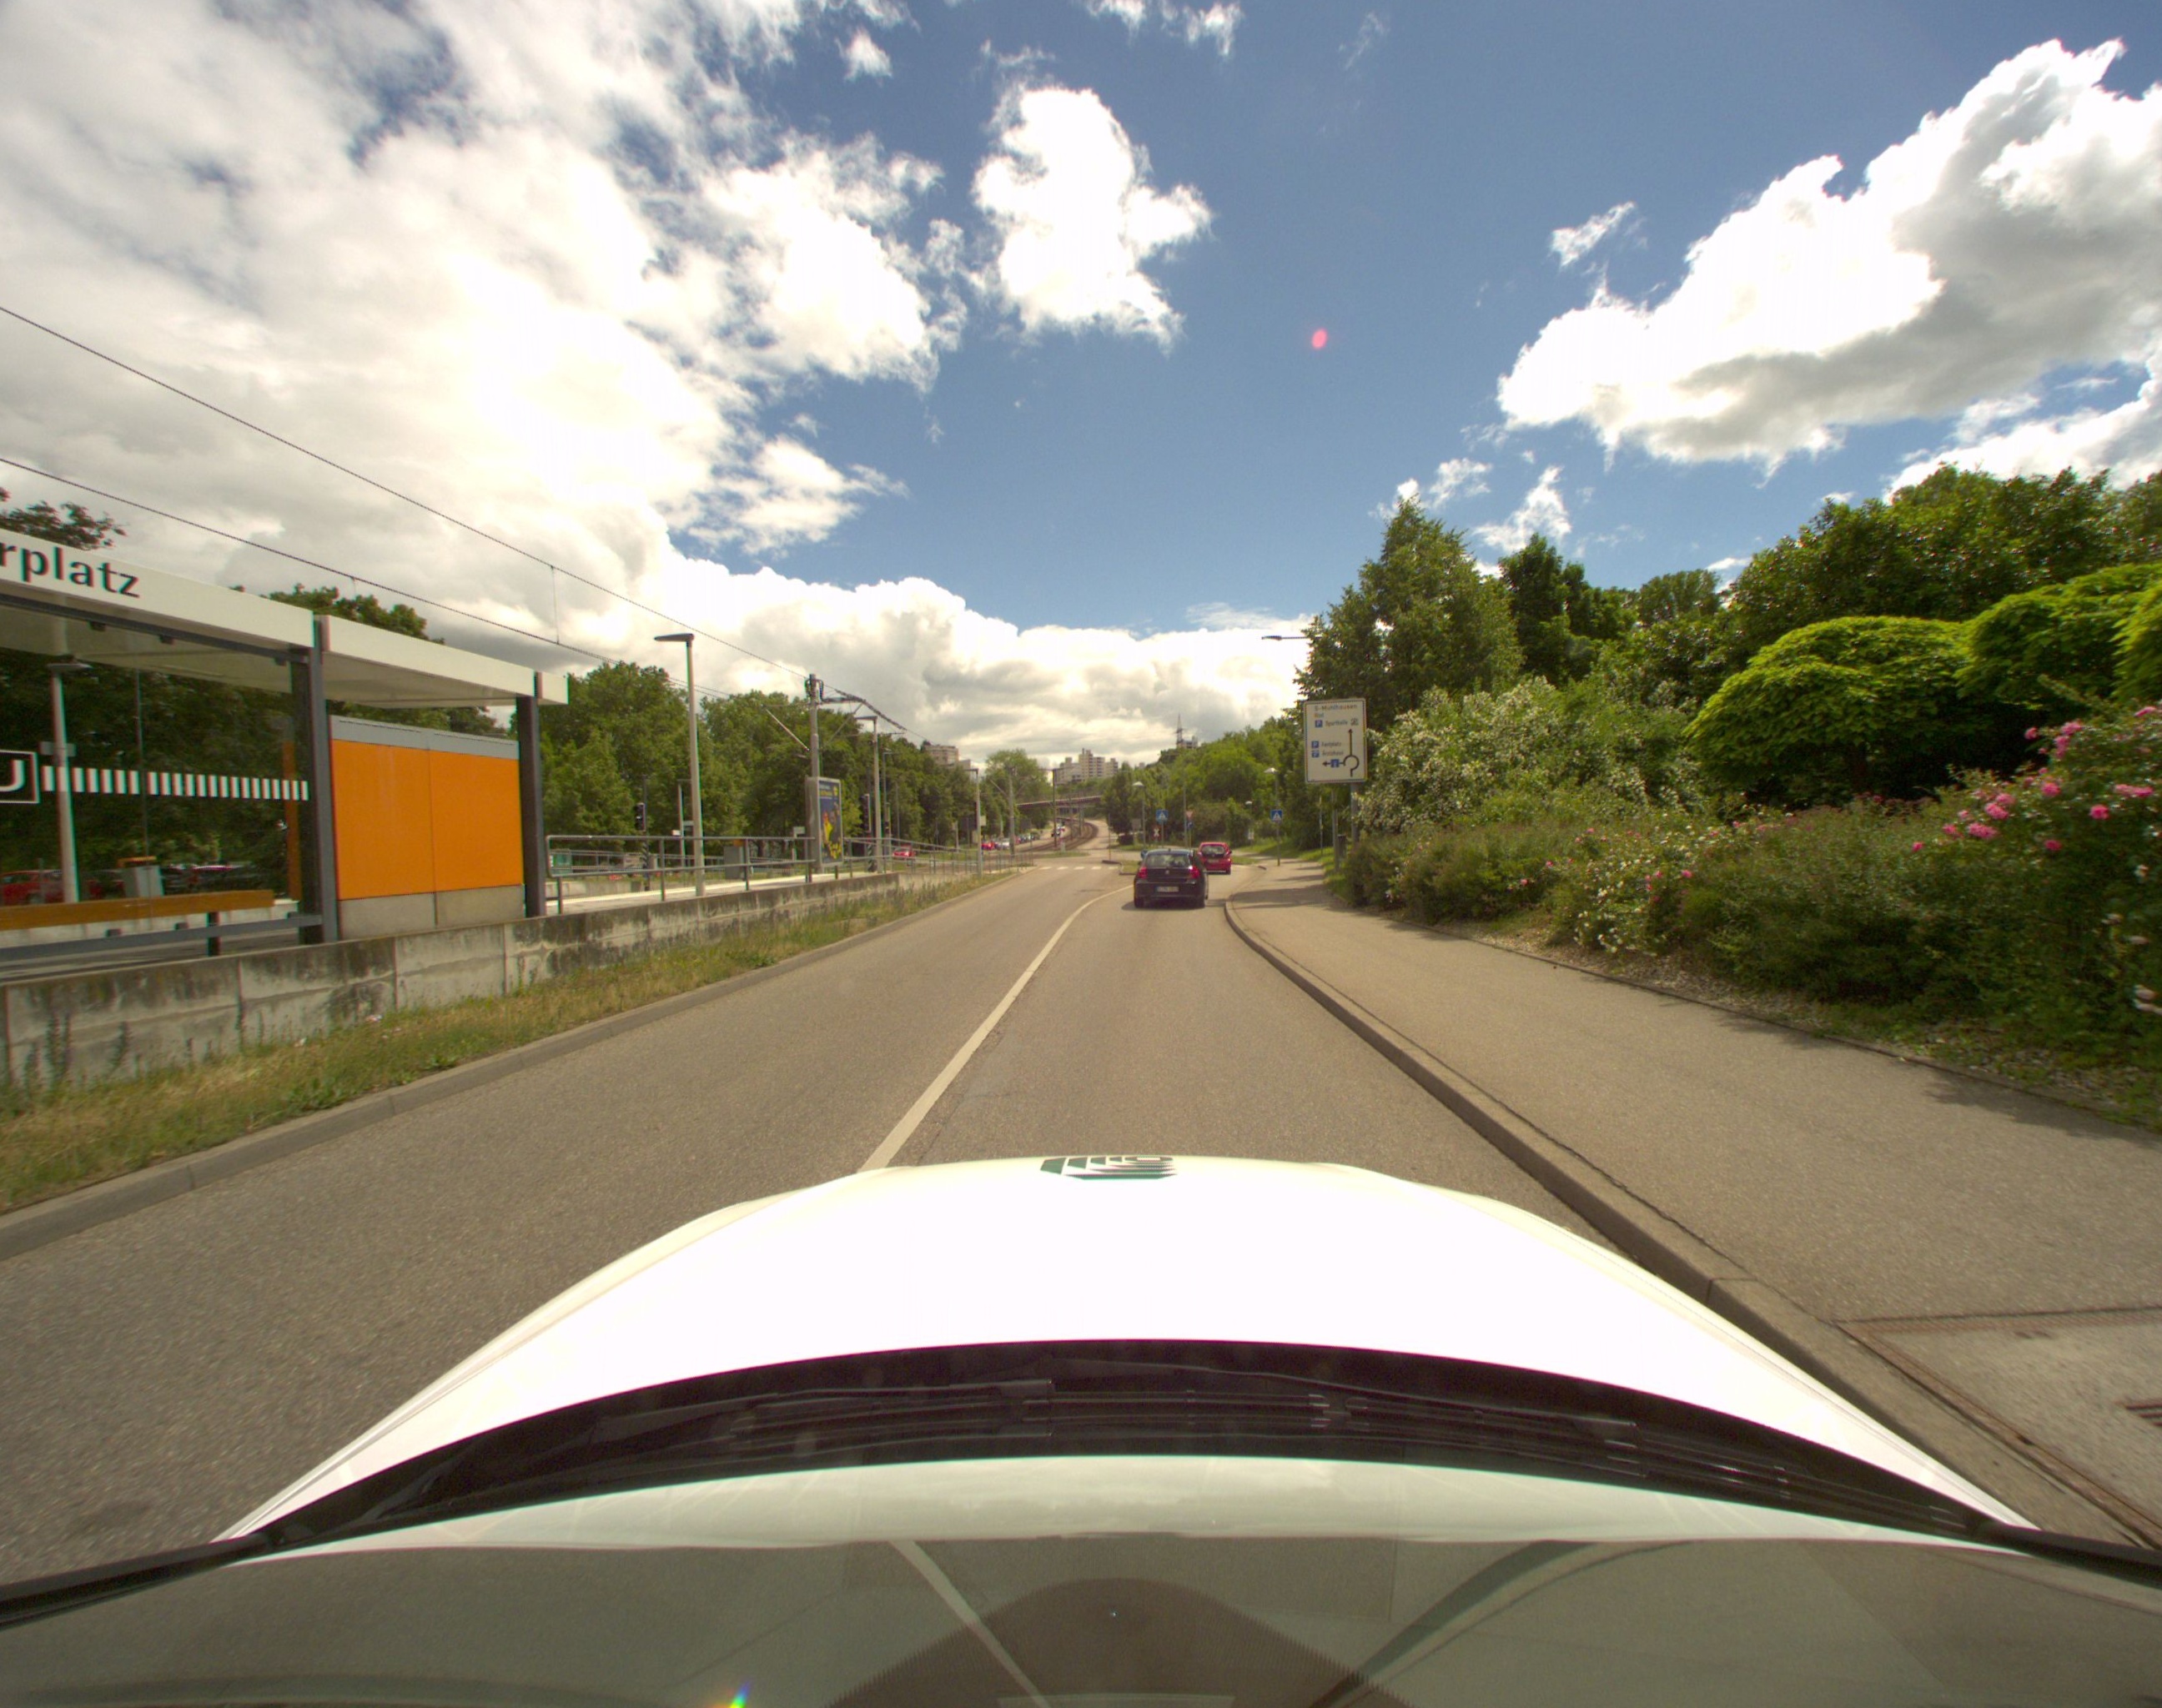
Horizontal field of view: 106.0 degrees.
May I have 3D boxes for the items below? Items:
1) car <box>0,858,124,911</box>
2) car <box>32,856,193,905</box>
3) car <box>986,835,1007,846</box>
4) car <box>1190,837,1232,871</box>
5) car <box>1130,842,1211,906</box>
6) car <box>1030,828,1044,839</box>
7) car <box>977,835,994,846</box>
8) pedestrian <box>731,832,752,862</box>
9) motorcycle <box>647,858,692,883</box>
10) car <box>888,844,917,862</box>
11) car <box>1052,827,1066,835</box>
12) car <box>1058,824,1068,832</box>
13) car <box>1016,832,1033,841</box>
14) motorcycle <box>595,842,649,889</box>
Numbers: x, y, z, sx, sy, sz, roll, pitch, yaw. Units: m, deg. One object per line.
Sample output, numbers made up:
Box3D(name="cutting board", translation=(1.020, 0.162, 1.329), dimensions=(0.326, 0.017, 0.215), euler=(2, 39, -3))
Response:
Box3D(name="car", translation=(-37.827, 1.093, 29.612), dimensions=(3.621, 1.705, 2.055), euler=(-1, 2, 3))
Box3D(name="car", translation=(-37.875, 1.008, 31.918), dimensions=(3.970, 1.683, 1.977), euler=(-1, 2, 3))
Box3D(name="car", translation=(-11.617, -1.915, 112.035), dimensions=(1.868, 1.425, 3.541), euler=(-2, 2, 9))
Box3D(name="car", translation=(5.975, -0.049, 37.724), dimensions=(1.756, 1.432, 3.486), euler=(-2, 1, 7))
Box3D(name="car", translation=(2.324, 0.459, 20.906), dimensions=(1.805, 1.420, 4.008), euler=(-2, 0, 7))
Box3D(name="car", translation=(-8.331, -3.899, 153.875), dimensions=(1.983, 1.862, 4.009), euler=(-1, 2, 7))
Box3D(name="car", translation=(-12.369, -1.784, 105.780), dimensions=(1.521, 1.370, 3.602), euler=(-2, 2, 4))
Box3D(name="pedestrian", translation=(-23.485, -0.482, 56.347), dimensions=(0.952, 2.013, 0.826), euler=(-1, 2, 23))
Box3D(name="motorcycle", translation=(-20.061, 0.778, 39.763), dimensions=(0.724, 1.081, 2.223), euler=(-2, 1, 11))
Box3D(name="car", translation=(-16.555, -0.117, 75.614), dimensions=(1.711, 1.502, 2.972), euler=(-1, 2, 6))
Box3D(name="car", translation=(-4.611, -4.868, 170.292), dimensions=(1.982, 1.597, 4.431), euler=(-2, 1, 9))
Box3D(name="car", translation=(-4.573, -6.481, 205.053), dimensions=(1.994, 2.013, 3.987), euler=(-2, 2, -10))
Box3D(name="car", translation=(-9.553, -2.975, 138.123), dimensions=(1.983, 1.473, 4.008), euler=(-2, 2, 6))
Box3D(name="motorcycle", translation=(-20.527, 0.505, 36.459), dimensions=(0.827, 2.013, 1.992), euler=(-2, 1, 18))
